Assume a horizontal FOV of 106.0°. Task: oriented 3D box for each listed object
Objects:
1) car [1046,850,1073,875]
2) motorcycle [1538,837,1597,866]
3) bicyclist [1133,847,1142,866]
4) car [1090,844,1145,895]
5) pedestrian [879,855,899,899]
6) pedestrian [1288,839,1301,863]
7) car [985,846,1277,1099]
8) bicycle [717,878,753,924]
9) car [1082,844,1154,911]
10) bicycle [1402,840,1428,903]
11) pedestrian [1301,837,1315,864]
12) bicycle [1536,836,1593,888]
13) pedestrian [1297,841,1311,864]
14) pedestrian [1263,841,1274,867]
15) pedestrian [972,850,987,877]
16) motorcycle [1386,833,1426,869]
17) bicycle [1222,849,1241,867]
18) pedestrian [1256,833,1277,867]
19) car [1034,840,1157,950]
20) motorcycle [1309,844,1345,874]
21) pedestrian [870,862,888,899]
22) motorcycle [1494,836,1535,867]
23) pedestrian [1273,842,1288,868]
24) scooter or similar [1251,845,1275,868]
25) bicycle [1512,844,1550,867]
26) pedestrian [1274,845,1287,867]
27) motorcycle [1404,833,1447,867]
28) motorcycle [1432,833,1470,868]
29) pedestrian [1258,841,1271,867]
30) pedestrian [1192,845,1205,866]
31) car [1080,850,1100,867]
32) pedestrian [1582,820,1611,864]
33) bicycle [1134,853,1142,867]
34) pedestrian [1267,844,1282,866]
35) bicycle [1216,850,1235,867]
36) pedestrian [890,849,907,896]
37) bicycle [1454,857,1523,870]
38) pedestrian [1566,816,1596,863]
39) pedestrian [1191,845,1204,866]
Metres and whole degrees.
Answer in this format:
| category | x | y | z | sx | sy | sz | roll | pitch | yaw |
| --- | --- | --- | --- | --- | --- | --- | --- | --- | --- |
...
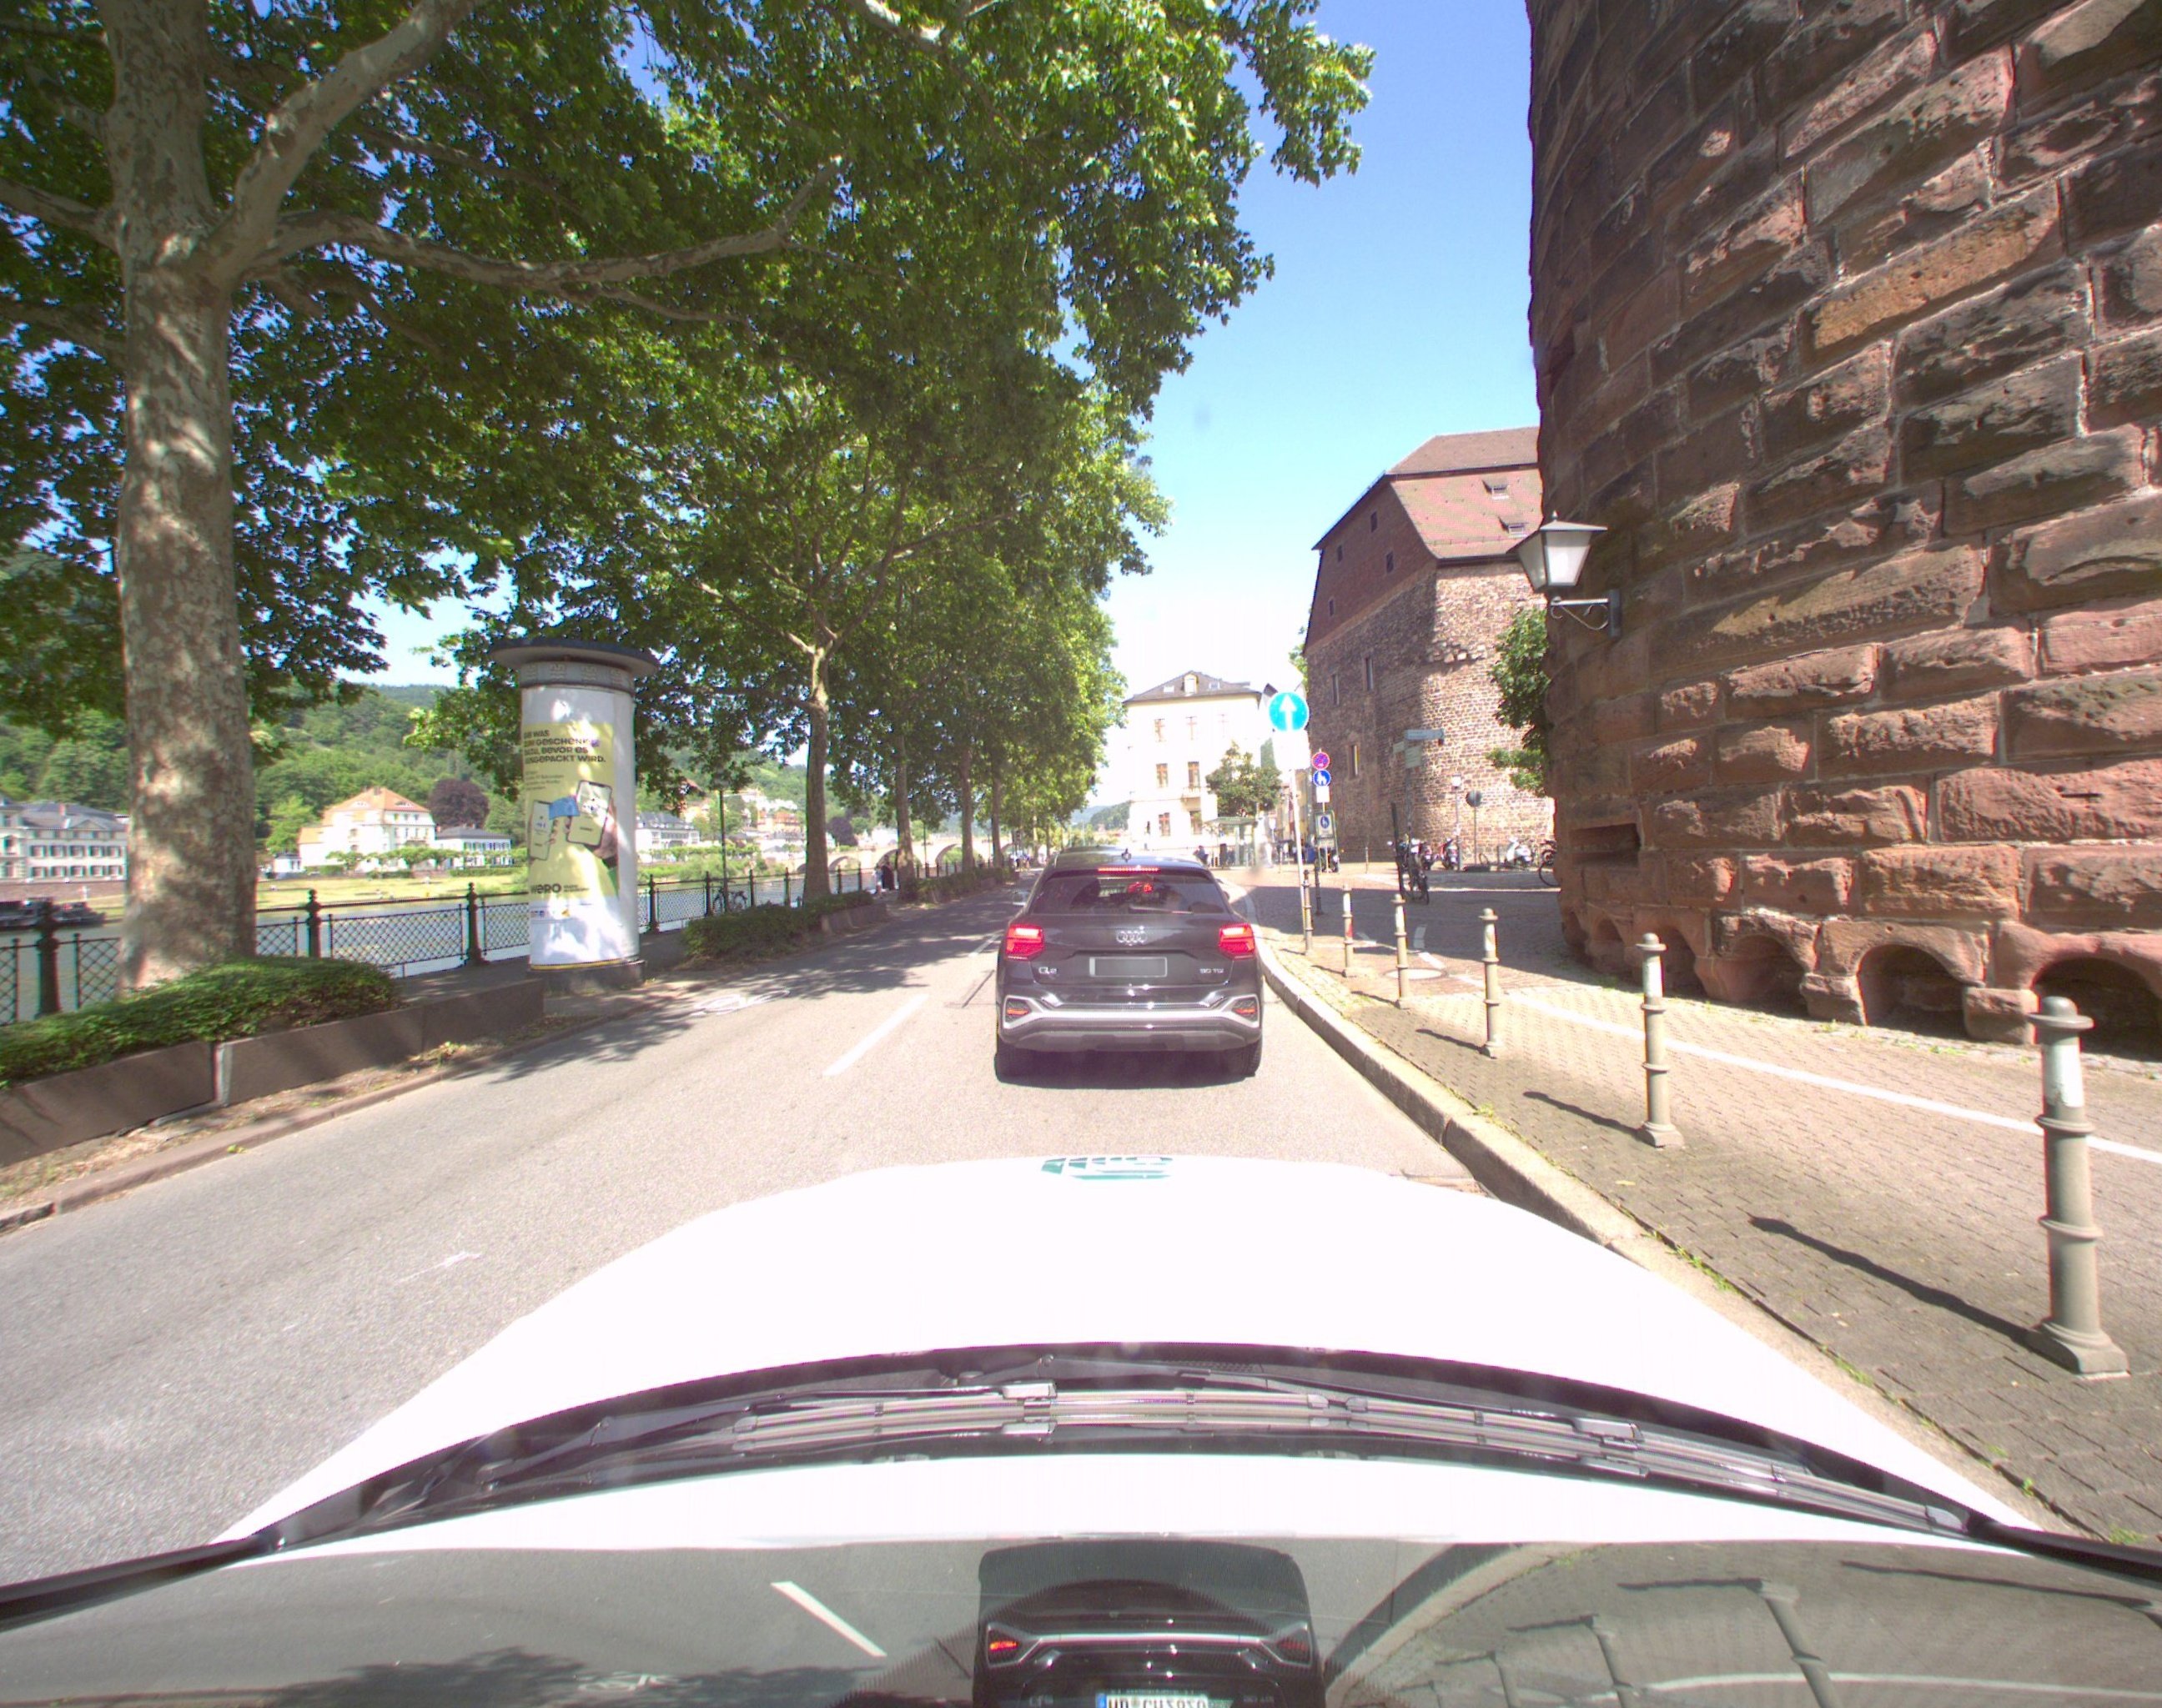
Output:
| category | x | y | z | sx | sy | sz | roll | pitch | yaw |
| --- | --- | --- | --- | --- | --- | --- | --- | --- | --- |
| car | -1.557 | 0.585 | 60.708 | 1.667 | 1.660 | 4.224 | -5 | 0 | 1 |
| motorcycle | 18.378 | -0.085 | 30.777 | 1.854 | 1.054 | 0.481 | -1 | -1 | 9 |
| bicyclist | 4.346 | 0.180 | 62.512 | 0.604 | 1.450 | 0.590 | 0 | -1 | -3 |
| car | 1.268 | 0.503 | 28.740 | 1.788 | 1.682 | 4.002 | -1 | 0 | 2 |
| pedestrian | -7.670 | 0.906 | 32.524 | 0.599 | 1.685 | 0.583 | -3 | 0 | 0 |
| pedestrian | 15.243 | -0.224 | 58.110 | 0.605 | 1.619 | 0.711 | -4 | -1 | 1 |
| car | 0.354 | 0.700 | 6.699 | 1.736 | 1.509 | 3.649 | 0 | 0 | 2 |
| bicycle | -8.885 | 1.191 | 20.952 | 0.358 | 1.091 | 1.296 | 1 | 0 | 1 |
| car | 0.959 | 0.565 | 21.660 | 1.704 | 1.609 | 3.656 | -1 | 0 | 2 |
| bicycle | 6.865 | 0.329 | 16.773 | 0.192 | 1.203 | 1.775 | -2 | 1 | 13 |
| pedestrian | 16.493 | -0.264 | 59.190 | 0.747 | 1.890 | 0.750 | -4 | 0 | 0 |
| bicycle | 11.537 | 0.175 | 19.474 | 0.444 | 1.162 | 1.733 | -2 | 0 | 5 |
| pedestrian | 15.854 | -0.110 | 57.961 | 0.688 | 1.612 | 0.892 | -4 | 0 | 1 |
| pedestrian | 17.049 | -0.008 | 74.137 | 0.871 | 2.358 | 0.749 | -1 | -1 | 23 |
| pedestrian | -6.931 | 0.649 | 55.656 | 0.906 | 1.811 | 0.586 | -1 | -1 | 6 |
| motorcycle | 11.903 | -0.090 | 29.895 | 0.653 | 1.266 | 2.201 | -2 | -1 | 2 |
| bicycle | 9.037 | 0.248 | 48.911 | 1.205 | 1.035 | 0.178 | 0 | -1 | -17 |
| pedestrian | 9.464 | -0.204 | 41.580 | 0.657 | 1.662 | 0.803 | -3 | 0 | -24 |
| car | 0.262 | 0.591 | 13.569 | 1.786 | 1.595 | 3.400 | 0 | 0 | 2 |
| motorcycle | 9.061 | 0.173 | 30.075 | 0.564 | 1.012 | 2.490 | -2 | 0 | 1 |
| pedestrian | -7.500 | 0.985 | 30.205 | 0.476 | 1.362 | 0.418 | -2 | 0 | 5 |
| motorcycle | 15.469 | -0.070 | 29.105 | 0.505 | 1.073 | 1.841 | 0 | -1 | 2 |
| pedestrian | 15.844 | 0.083 | 64.782 | 0.937 | 2.014 | 0.807 | 0 | -1 | -2 |
| scooter or similar | 8.801 | 0.120 | 39.373 | 1.085 | 1.066 | 0.323 | 0 | -1 | -1 |
| bicycle | 16.631 | 0.050 | 30.135 | 0.352 | 0.820 | 1.926 | 0 | 1 | 1 |
| pedestrian | 18.055 | 0.162 | 73.732 | 0.941 | 2.014 | 0.808 | 0 | -1 | 2 |
| motorcycle | 12.775 | -0.128 | 30.304 | 0.672 | 1.235 | 2.313 | 0 | -1 | 2 |
| motorcycle | 13.727 | -0.116 | 30.248 | 0.544 | 1.235 | 2.031 | 0 | -1 | 2 |
| pedestrian | 9.612 | 0.006 | 42.625 | 0.555 | 1.385 | 0.588 | -1 | -1 | 4 |
| pedestrian | 6.934 | 0.112 | 48.081 | 0.662 | 1.211 | 0.640 | 0 | -1 | -5 |
| car | 1.046 | 0.505 | 90.670 | 1.985 | 1.806 | 4.003 | -1 | -1 | 3 |
| pedestrian | 21.219 | -0.482 | 33.508 | 0.657 | 1.802 | 0.837 | -1 | 0 | -41 |
| bicycle | 4.347 | 0.453 | 62.463 | 0.436 | 1.086 | 1.675 | 0 | -1 | -2 |
| pedestrian | 12.800 | 0.076 | 53.942 | 0.637 | 1.444 | 0.797 | -4 | 0 | -5 |
| bicycle | 8.799 | 0.256 | 49.541 | 1.187 | 1.016 | 0.178 | 0 | -1 | -17 |
| pedestrian | -7.406 | 0.757 | 33.029 | 0.532 | 1.887 | 0.437 | -1 | 0 | 1 |
| bicycle | 13.642 | 0.308 | 27.317 | 1.914 | 0.381 | 0.921 | -2 | -1 | 16 |
| pedestrian | 21.617 | -0.616 | 35.238 | 0.869 | 2.014 | 0.735 | -1 | -1 | 11 |
| pedestrian | 6.983 | 0.093 | 48.850 | 0.662 | 1.231 | 0.640 | 0 | -1 | -5 |
